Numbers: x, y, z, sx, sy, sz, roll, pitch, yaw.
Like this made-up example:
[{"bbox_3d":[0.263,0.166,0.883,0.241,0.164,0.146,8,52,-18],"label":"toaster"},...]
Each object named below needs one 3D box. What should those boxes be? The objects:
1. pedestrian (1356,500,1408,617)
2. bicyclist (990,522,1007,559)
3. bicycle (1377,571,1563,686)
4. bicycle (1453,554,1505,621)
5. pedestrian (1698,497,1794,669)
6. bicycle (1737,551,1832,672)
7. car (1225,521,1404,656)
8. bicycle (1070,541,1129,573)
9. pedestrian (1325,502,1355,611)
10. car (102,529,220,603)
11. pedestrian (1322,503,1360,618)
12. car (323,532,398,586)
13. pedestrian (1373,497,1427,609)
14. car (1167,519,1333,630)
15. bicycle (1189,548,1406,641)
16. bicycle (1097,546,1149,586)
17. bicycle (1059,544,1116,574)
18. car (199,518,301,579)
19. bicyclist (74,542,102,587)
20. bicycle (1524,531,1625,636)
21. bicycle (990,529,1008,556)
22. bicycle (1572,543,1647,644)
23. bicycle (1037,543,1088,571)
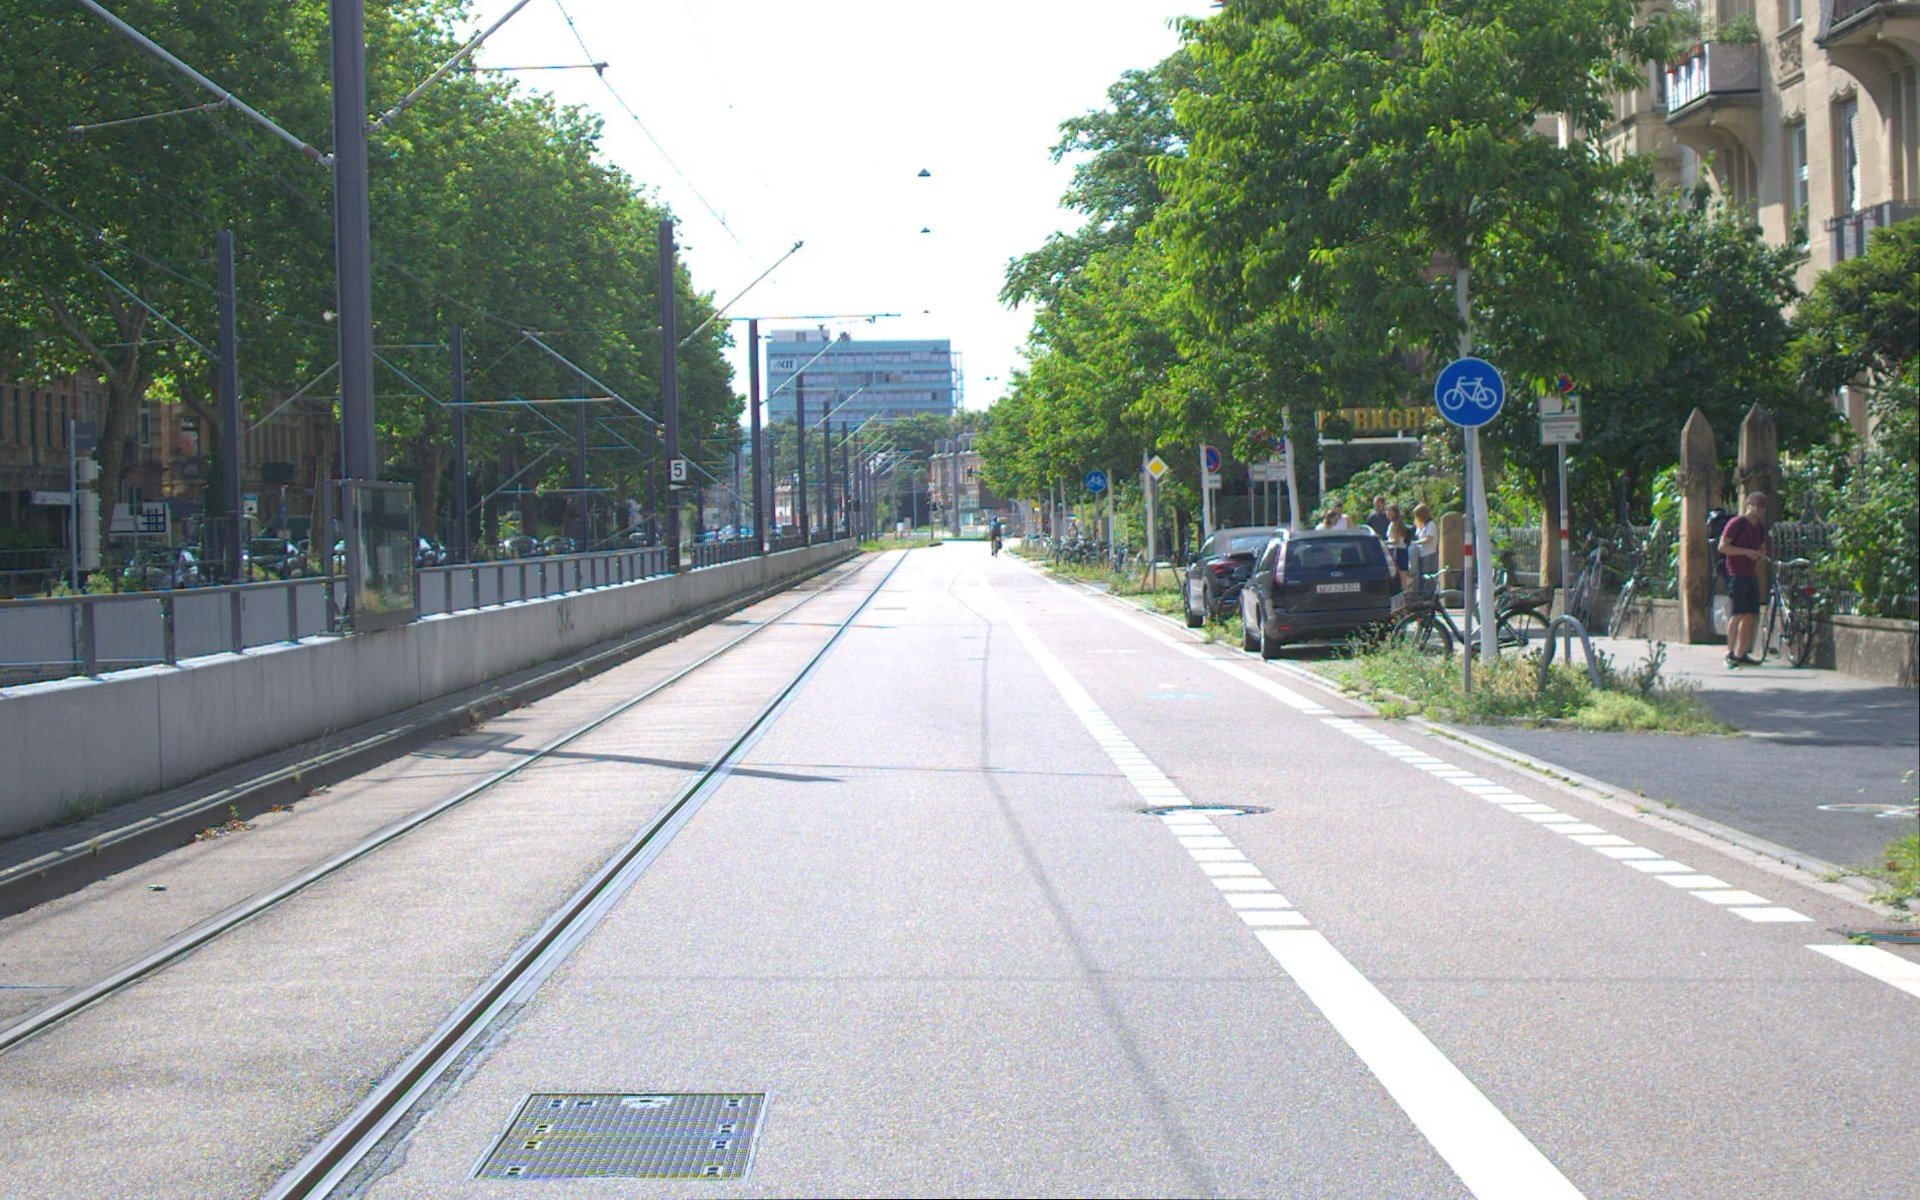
[{"bbox_3d":[6.675,-0.657,54.392,0.669,1.798,0.319,-4,1,-2],"label":"pedestrian"},{"bbox_3d":[1.824,-2.798,161.473,0.770,1.724,1.026,-1,1,0],"label":"bicyclist"},{"bbox_3d":[4.942,0.268,33.340,1.705,1.065,0.471,-1,1,-6],"label":"bicycle"},{"bbox_3d":[7.660,-0.197,50.802,0.427,0.936,1.807,-4,1,0],"label":"bicycle"},{"bbox_3d":[7.539,-0.166,32.997,0.723,1.623,0.725,-1,1,0],"label":"pedestrian"},{"bbox_3d":[7.862,0.093,32.834,0.470,1.104,1.711,-1,1,0],"label":"bicycle"},{"bbox_3d":[4.319,-0.188,42.421,1.686,1.497,4.708,-2,1,0],"label":"car"},{"bbox_3d":[4.518,-1.401,111.201,1.816,0.899,0.652,-4,1,-3],"label":"bicycle"},{"bbox_3d":[6.021,-0.691,54.460,0.318,1.701,0.460,-3,1,14],"label":"pedestrian"},{"bbox_3d":[-20.435,-0.887,88.073,1.718,1.685,3.729,-3,2,6],"label":"car"},{"bbox_3d":[6.087,-0.630,54.959,0.459,1.798,0.319,-4,1,-2],"label":"pedestrian"},{"bbox_3d":[-21.092,-1.448,121.047,1.839,1.722,4.000,-4,1,0],"label":"car"},{"bbox_3d":[6.762,-0.722,52.830,0.528,1.670,0.575,-4,1,-18],"label":"pedestrian"},{"bbox_3d":[4.370,-0.427,52.438,1.798,1.521,4.490,-3,1,-4],"label":"car"},{"bbox_3d":[4.806,-0.087,48.924,2.945,1.242,0.793,-2,1,-13],"label":"bicycle"},{"bbox_3d":[4.421,-0.925,93.390,0.649,1.035,1.822,-4,2,-21],"label":"bicycle"},{"bbox_3d":[4.318,-1.381,116.139,1.816,0.899,0.604,-4,1,-3],"label":"bicycle"},{"bbox_3d":[-21.213,-1.554,102.851,1.994,1.631,4.000,-4,1,2],"label":"car"},{"bbox_3d":[-23.847,-0.969,94.016,0.535,1.227,0.724,-1,1,0],"label":"bicyclist"},{"bbox_3d":[7.783,-0.232,43.669,0.657,1.244,2.943,-4,1,0],"label":"bicycle"},{"bbox_3d":[1.823,-2.722,161.462,0.799,1.232,2.778,-1,1,0],"label":"bicycle"},{"bbox_3d":[7.702,-0.093,40.814,0.427,1.136,2.023,-4,1,0],"label":"bicycle"},{"bbox_3d":[3.799,-1.592,127.396,1.816,0.899,0.604,-4,1,-3],"label":"bicycle"}]
